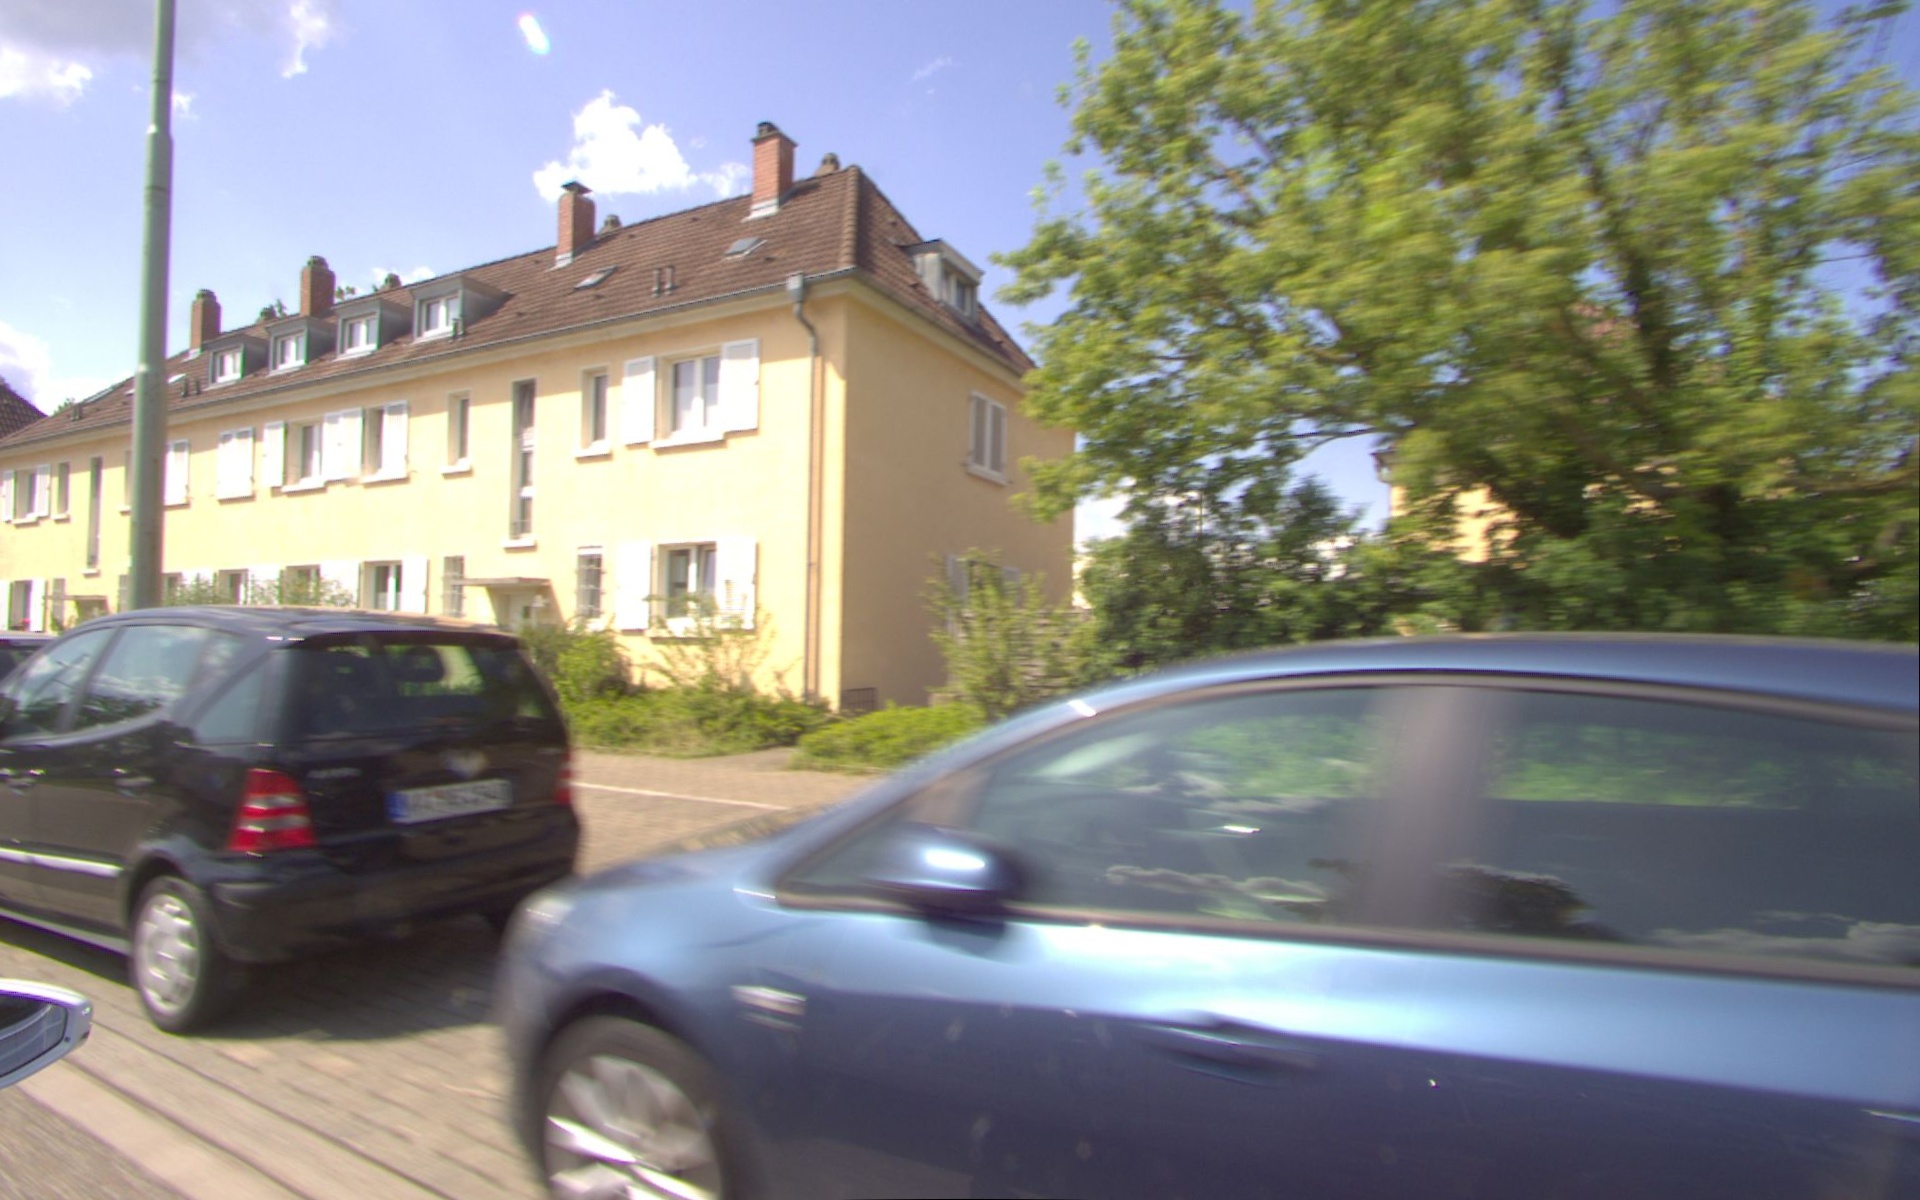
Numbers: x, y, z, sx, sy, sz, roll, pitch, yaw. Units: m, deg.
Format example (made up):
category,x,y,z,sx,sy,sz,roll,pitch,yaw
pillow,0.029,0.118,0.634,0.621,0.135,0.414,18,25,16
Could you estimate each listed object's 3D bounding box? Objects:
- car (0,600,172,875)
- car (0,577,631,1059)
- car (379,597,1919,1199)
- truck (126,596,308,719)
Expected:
category,x,y,z,sx,sy,sz,roll,pitch,yaw
car,-7.377,0.830,6.938,3.969,1.622,1.635,0,-3,30
car,-3.698,0.795,5.044,3.871,1.622,1.636,0,-3,28
car,0.685,0.804,2.259,4.063,1.500,1.635,0,-3,30
truck,-11.275,0.861,15.195,2.405,1.709,1.345,-1,-3,30
